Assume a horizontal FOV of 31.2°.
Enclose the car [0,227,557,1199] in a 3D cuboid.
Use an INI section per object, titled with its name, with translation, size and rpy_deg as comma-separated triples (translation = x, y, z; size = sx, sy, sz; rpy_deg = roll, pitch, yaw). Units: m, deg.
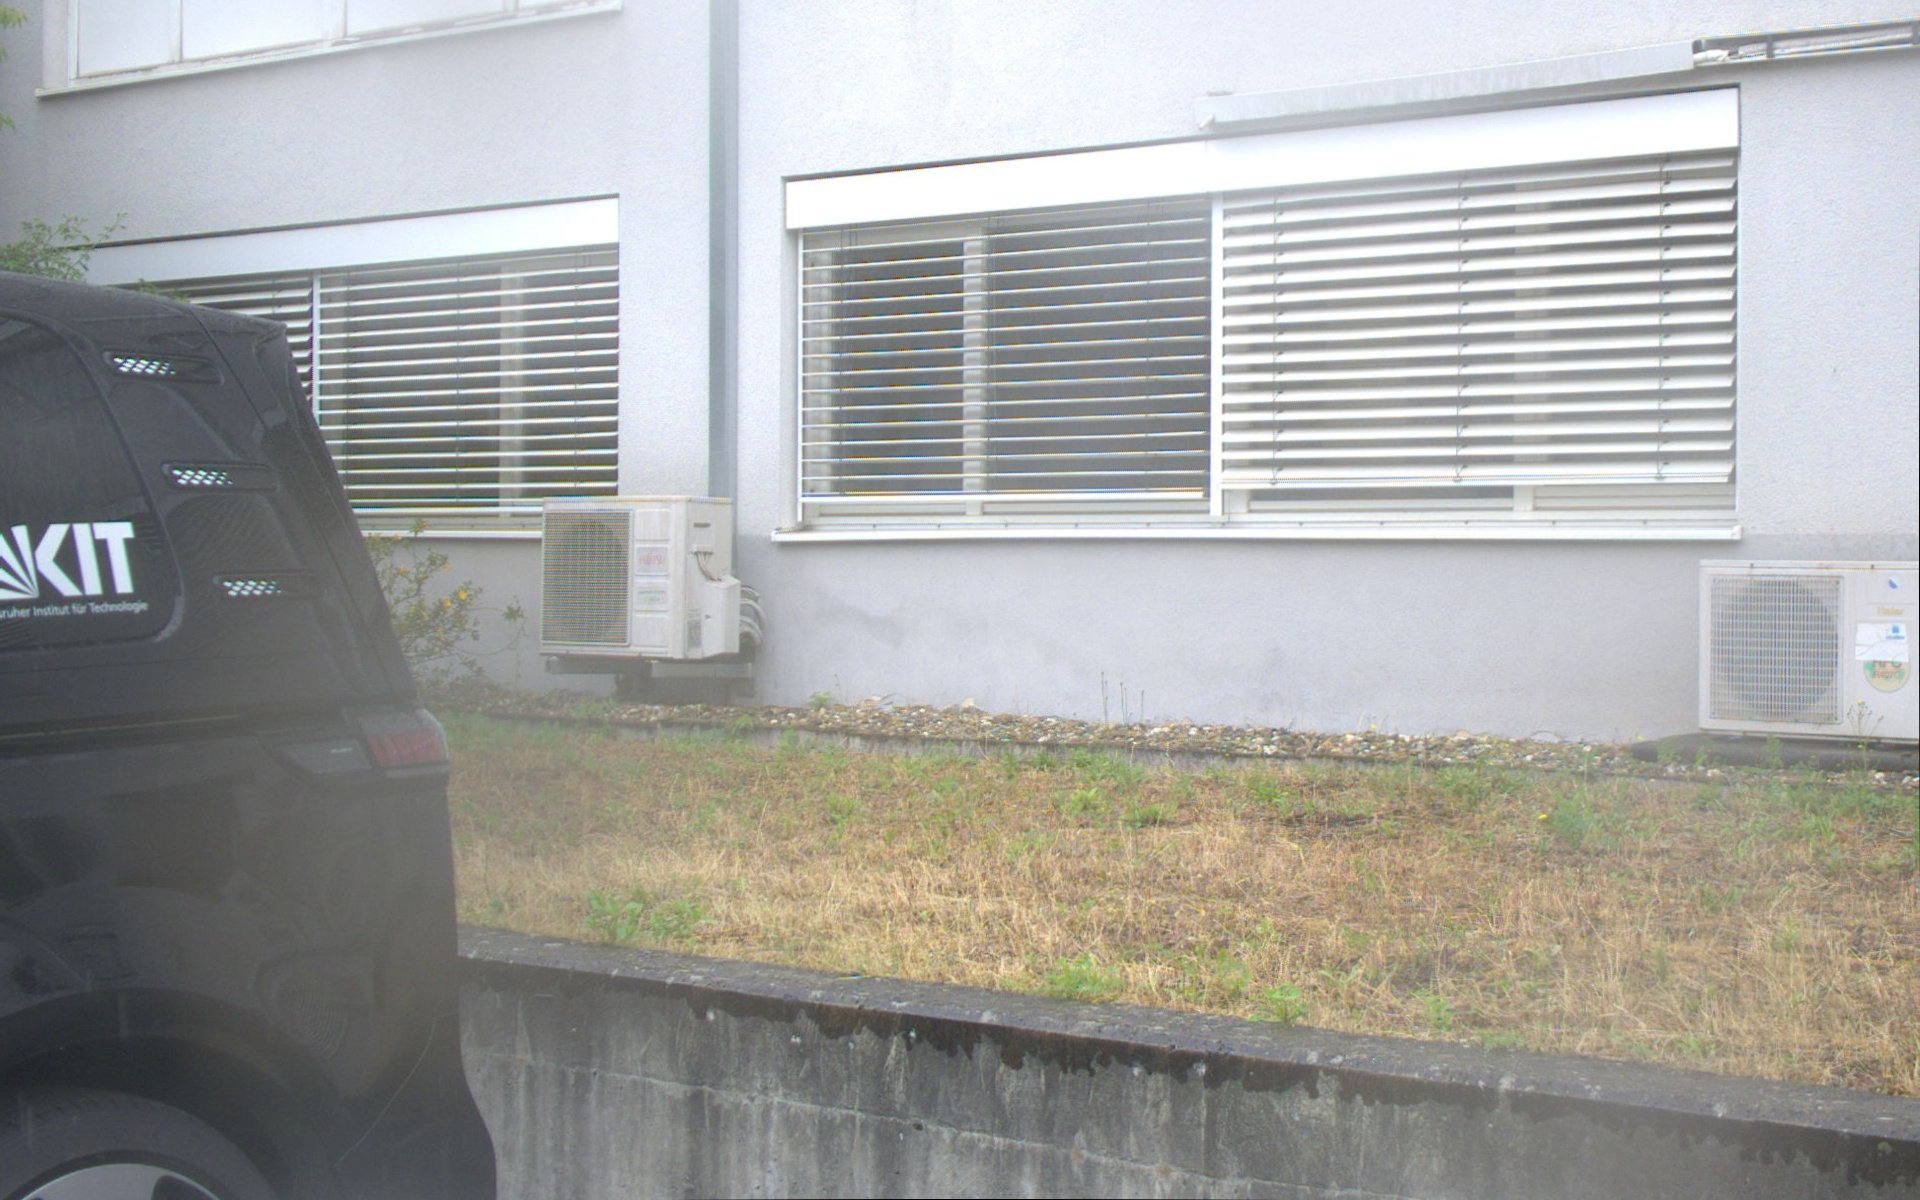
[car]
translation = -2.826, 0.493, 3.948
size = 2.045, 1.891, 4.512
rpy_deg = 0, 1, 40
